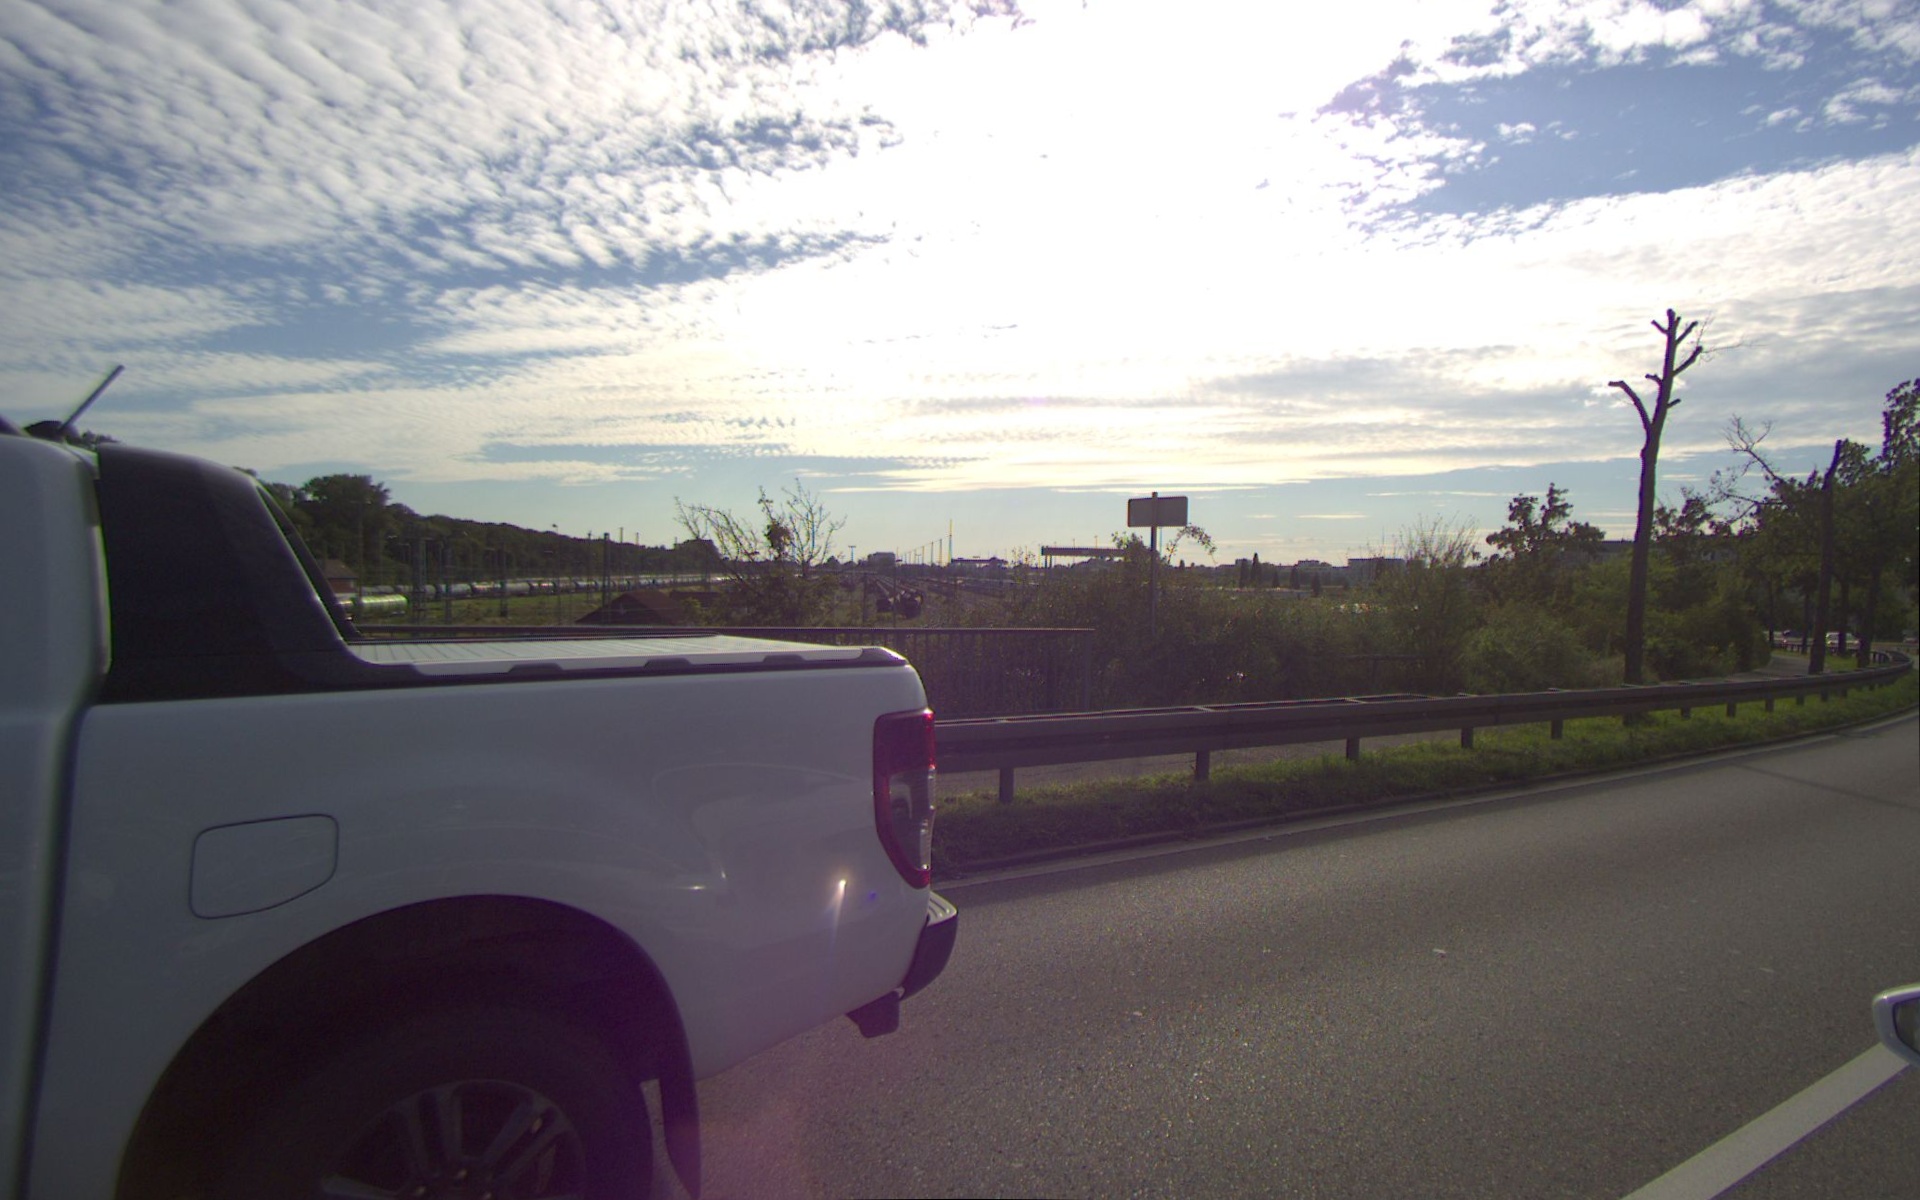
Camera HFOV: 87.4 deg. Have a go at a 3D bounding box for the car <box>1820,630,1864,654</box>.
[{"bbox_3d":[55.263,2.610,62.958,1.776,1.444,3.857,0,-1,37],"label":"car"}]

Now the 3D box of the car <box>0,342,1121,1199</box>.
[{"bbox_3d":[-2.353,0.541,1.925,5.344,1.834,1.890,1,-1,-32],"label":"car"}]
